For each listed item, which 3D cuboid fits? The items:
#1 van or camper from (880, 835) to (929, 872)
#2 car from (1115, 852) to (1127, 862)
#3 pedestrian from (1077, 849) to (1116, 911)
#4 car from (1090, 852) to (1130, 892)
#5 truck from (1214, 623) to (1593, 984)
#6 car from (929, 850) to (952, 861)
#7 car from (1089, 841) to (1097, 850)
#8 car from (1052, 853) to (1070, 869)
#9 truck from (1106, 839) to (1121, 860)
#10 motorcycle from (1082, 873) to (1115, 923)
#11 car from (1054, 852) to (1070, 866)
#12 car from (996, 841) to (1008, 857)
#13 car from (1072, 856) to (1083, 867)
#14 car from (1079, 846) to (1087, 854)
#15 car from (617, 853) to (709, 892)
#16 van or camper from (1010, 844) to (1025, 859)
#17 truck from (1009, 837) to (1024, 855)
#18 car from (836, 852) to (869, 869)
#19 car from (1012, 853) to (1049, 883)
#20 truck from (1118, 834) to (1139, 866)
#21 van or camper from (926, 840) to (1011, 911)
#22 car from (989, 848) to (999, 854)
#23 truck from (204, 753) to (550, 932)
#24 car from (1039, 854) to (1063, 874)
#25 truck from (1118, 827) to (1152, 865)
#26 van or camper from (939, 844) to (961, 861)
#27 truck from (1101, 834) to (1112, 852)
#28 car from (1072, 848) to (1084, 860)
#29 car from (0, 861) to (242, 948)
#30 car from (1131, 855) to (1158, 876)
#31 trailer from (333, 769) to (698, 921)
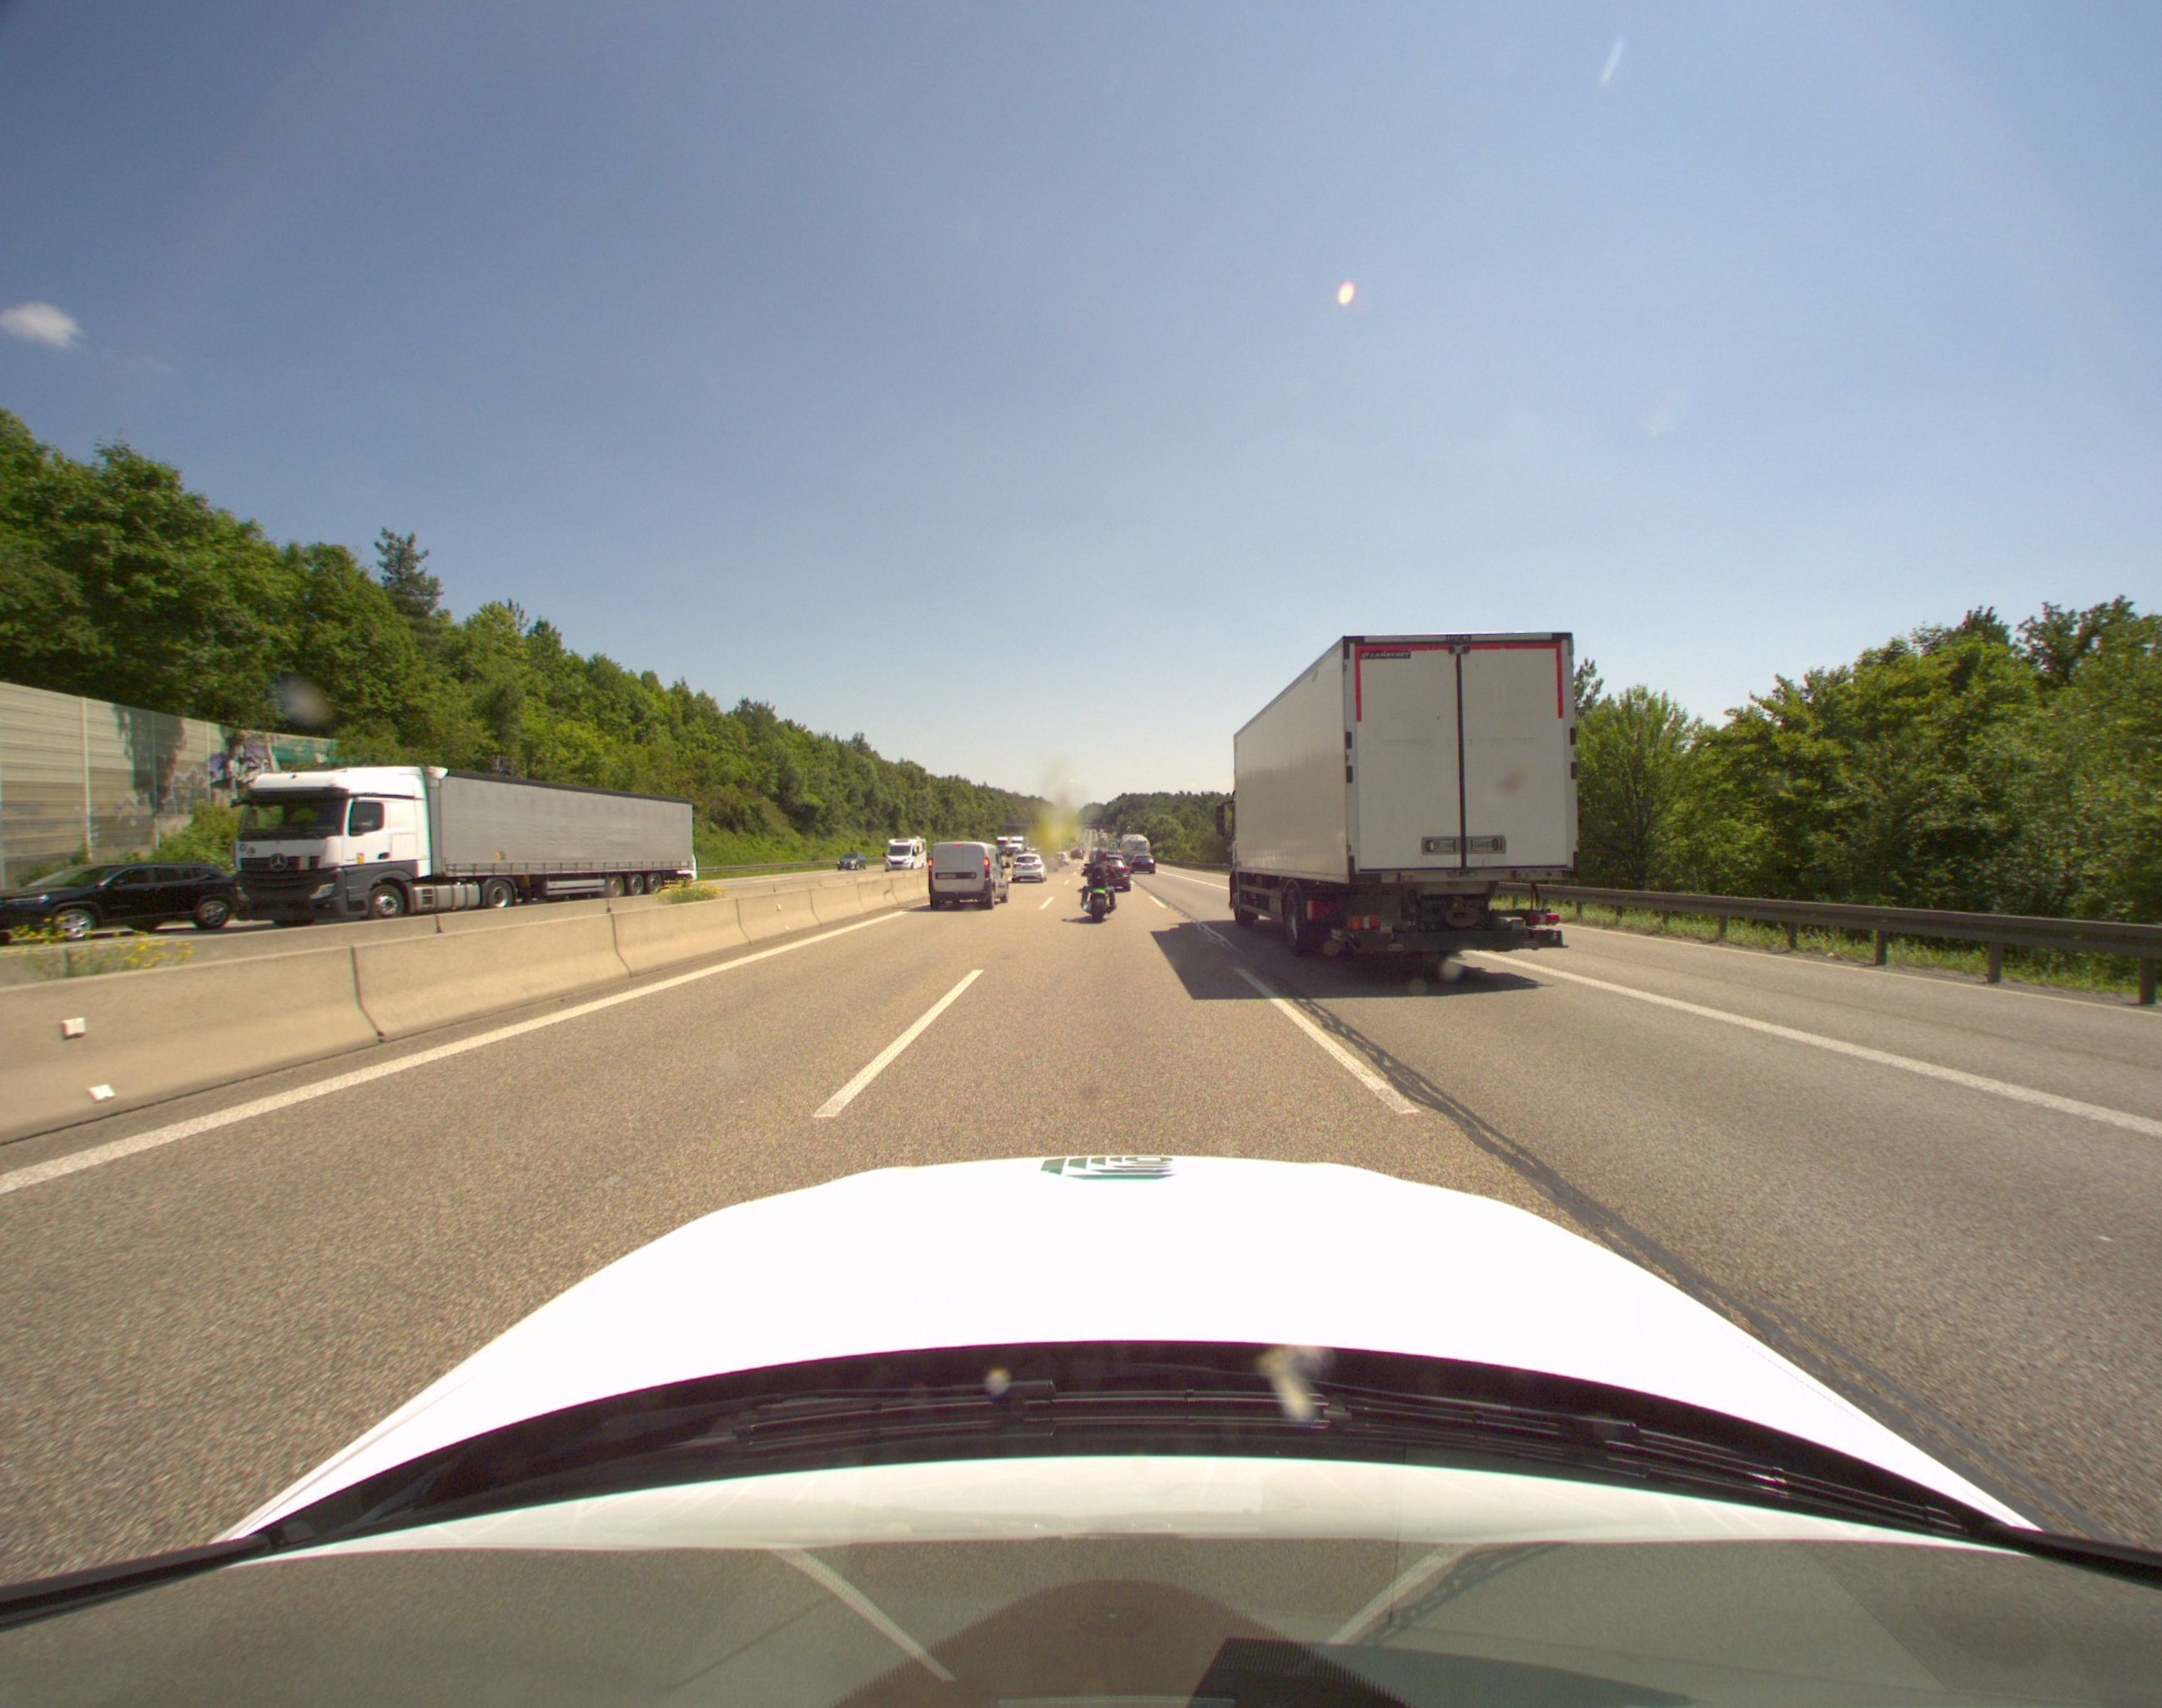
[{"bbox_3d":[-13.901,0.010,64.680,2.262,2.735,6.806,-1,0,1],"label":"van or camper"},{"bbox_3d":[6.148,0.423,125.489,1.781,1.555,3.804,1,1,1],"label":"car"},{"bbox_3d":[0.363,0.577,18.606,0.846,1.362,0.962,-1,0,2],"label":"pedestrian"},{"bbox_3d":[1.256,0.713,33.909,1.526,1.510,4.004,-1,0,4],"label":"car"},{"bbox_3d":[4.328,-0.571,13.821,2.678,3.876,9.783,-2,0,1],"label":"truck"},{"bbox_3d":[-16.477,0.160,95.776,1.795,1.347,4.724,-1,0,1],"label":"car"},{"bbox_3d":[3.624,-2.629,250.779,2.496,2.587,5.017,1,1,1],"label":"car"},{"bbox_3d":[-2.054,0.687,83.787,1.693,1.478,4.001,1,1,1],"label":"car"},{"bbox_3d":[7.172,-1.019,182.789,3.023,4.542,9.984,2,1,1],"label":"truck"},{"bbox_3d":[0.415,0.981,18.754,0.689,1.015,2.122,1,0,2],"label":"motorcycle"},{"bbox_3d":[-2.191,0.582,95.140,1.693,1.478,4.001,1,1,1],"label":"car"},{"bbox_3d":[-19.182,-1.229,198.437,2.441,3.873,4.566,-1,0,0],"label":"car"},{"bbox_3d":[-0.600,1.440,152.127,1.986,2.014,4.001,-1,0,1],"label":"car"},{"bbox_3d":[0.442,-0.948,215.060,1.922,2.014,4.001,-1,0,1],"label":"car"},{"bbox_3d":[-20.802,0.847,40.764,1.803,1.810,5.109,-1,0,2],"label":"car"},{"bbox_3d":[-12.070,-0.443,155.113,2.223,2.761,6.838,-1,0,1],"label":"van or camper"},{"bbox_3d":[-14.945,-1.817,189.723,2.831,4.214,5.660,0,0,1],"label":"truck"},{"bbox_3d":[-20.775,0.588,74.246,1.571,1.462,4.390,-1,0,2],"label":"car"},{"bbox_3d":[-2.684,0.743,44.014,1.693,1.478,4.001,1,1,1],"label":"car"},{"bbox_3d":[5.324,-0.465,92.170,1.988,3.522,4.748,-1,0,-1],"label":"truck"},{"bbox_3d":[-3.218,0.589,24.005,1.789,1.892,4.161,-1,0,1],"label":"van or camper"},{"bbox_3d":[-19.581,-0.602,182.950,1.756,1.370,4.502,0,0,1],"label":"car"},{"bbox_3d":[-18.043,-0.239,21.759,2.803,3.908,7.314,-1,0,0],"label":"truck"},{"bbox_3d":[-2.370,0.764,65.759,1.693,1.478,4.001,1,1,1],"label":"car"},{"bbox_3d":[5.408,-0.751,83.195,2.977,3.671,9.289,-1,0,1],"label":"truck"},{"bbox_3d":[-16.300,-0.207,101.573,2.068,1.976,3.706,-1,0,1],"label":"van or camper"},{"bbox_3d":[7.810,-3.287,248.893,3.023,5.139,9.984,2,1,1],"label":"truck"},{"bbox_3d":[-0.411,0.003,136.845,1.873,1.859,4.001,1,1,1],"label":"car"},{"bbox_3d":[-21.479,1.002,17.872,1.803,1.641,4.100,-1,0,2],"label":"car"},{"bbox_3d":[4.881,0.838,62.849,1.822,1.470,4.001,2,1,1],"label":"car"},{"bbox_3d":[-17.990,-0.194,28.145,2.803,3.908,13.827,-1,0,1],"label":"trailer"}]
